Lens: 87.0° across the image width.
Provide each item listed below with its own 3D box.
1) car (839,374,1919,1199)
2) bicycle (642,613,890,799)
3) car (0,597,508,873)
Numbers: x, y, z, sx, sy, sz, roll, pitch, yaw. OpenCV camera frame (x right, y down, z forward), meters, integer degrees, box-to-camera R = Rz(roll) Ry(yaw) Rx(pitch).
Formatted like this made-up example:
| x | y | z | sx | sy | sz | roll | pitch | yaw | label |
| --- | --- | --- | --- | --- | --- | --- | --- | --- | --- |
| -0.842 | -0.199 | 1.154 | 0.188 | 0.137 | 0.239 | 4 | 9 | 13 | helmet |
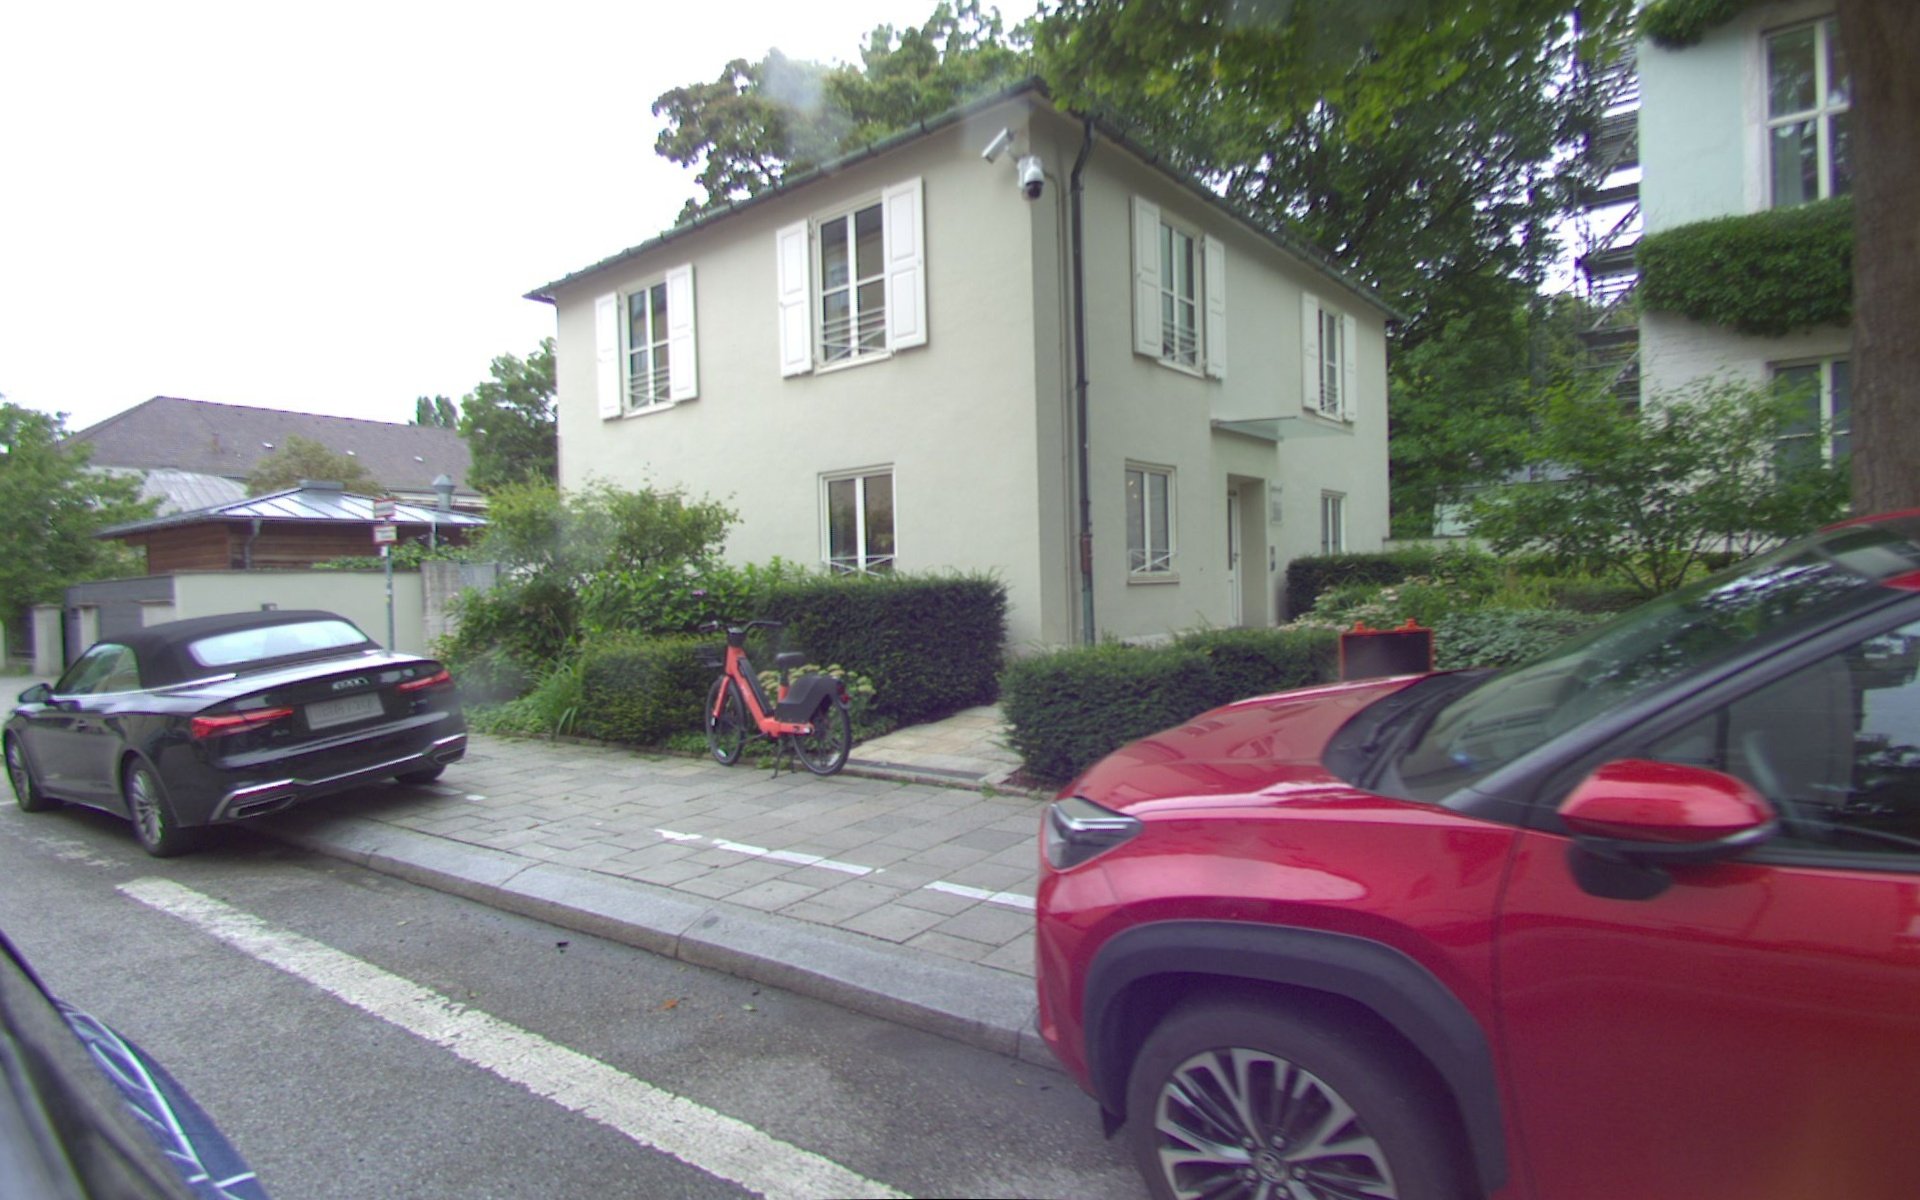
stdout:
| x | y | z | sx | sy | sz | roll | pitch | yaw | label |
| --- | --- | --- | --- | --- | --- | --- | --- | --- | --- |
| 2.106 | 0.458 | 1.813 | 4.519 | 1.602 | 1.870 | -1 | 2 | 37 | car |
| -1.445 | 0.680 | 7.229 | 2.047 | 1.139 | 0.642 | -1 | 0 | 43 | bicycle |
| -5.678 | 0.783 | 7.624 | 4.911 | 1.412 | 1.793 | -1 | 2 | 34 | car |
